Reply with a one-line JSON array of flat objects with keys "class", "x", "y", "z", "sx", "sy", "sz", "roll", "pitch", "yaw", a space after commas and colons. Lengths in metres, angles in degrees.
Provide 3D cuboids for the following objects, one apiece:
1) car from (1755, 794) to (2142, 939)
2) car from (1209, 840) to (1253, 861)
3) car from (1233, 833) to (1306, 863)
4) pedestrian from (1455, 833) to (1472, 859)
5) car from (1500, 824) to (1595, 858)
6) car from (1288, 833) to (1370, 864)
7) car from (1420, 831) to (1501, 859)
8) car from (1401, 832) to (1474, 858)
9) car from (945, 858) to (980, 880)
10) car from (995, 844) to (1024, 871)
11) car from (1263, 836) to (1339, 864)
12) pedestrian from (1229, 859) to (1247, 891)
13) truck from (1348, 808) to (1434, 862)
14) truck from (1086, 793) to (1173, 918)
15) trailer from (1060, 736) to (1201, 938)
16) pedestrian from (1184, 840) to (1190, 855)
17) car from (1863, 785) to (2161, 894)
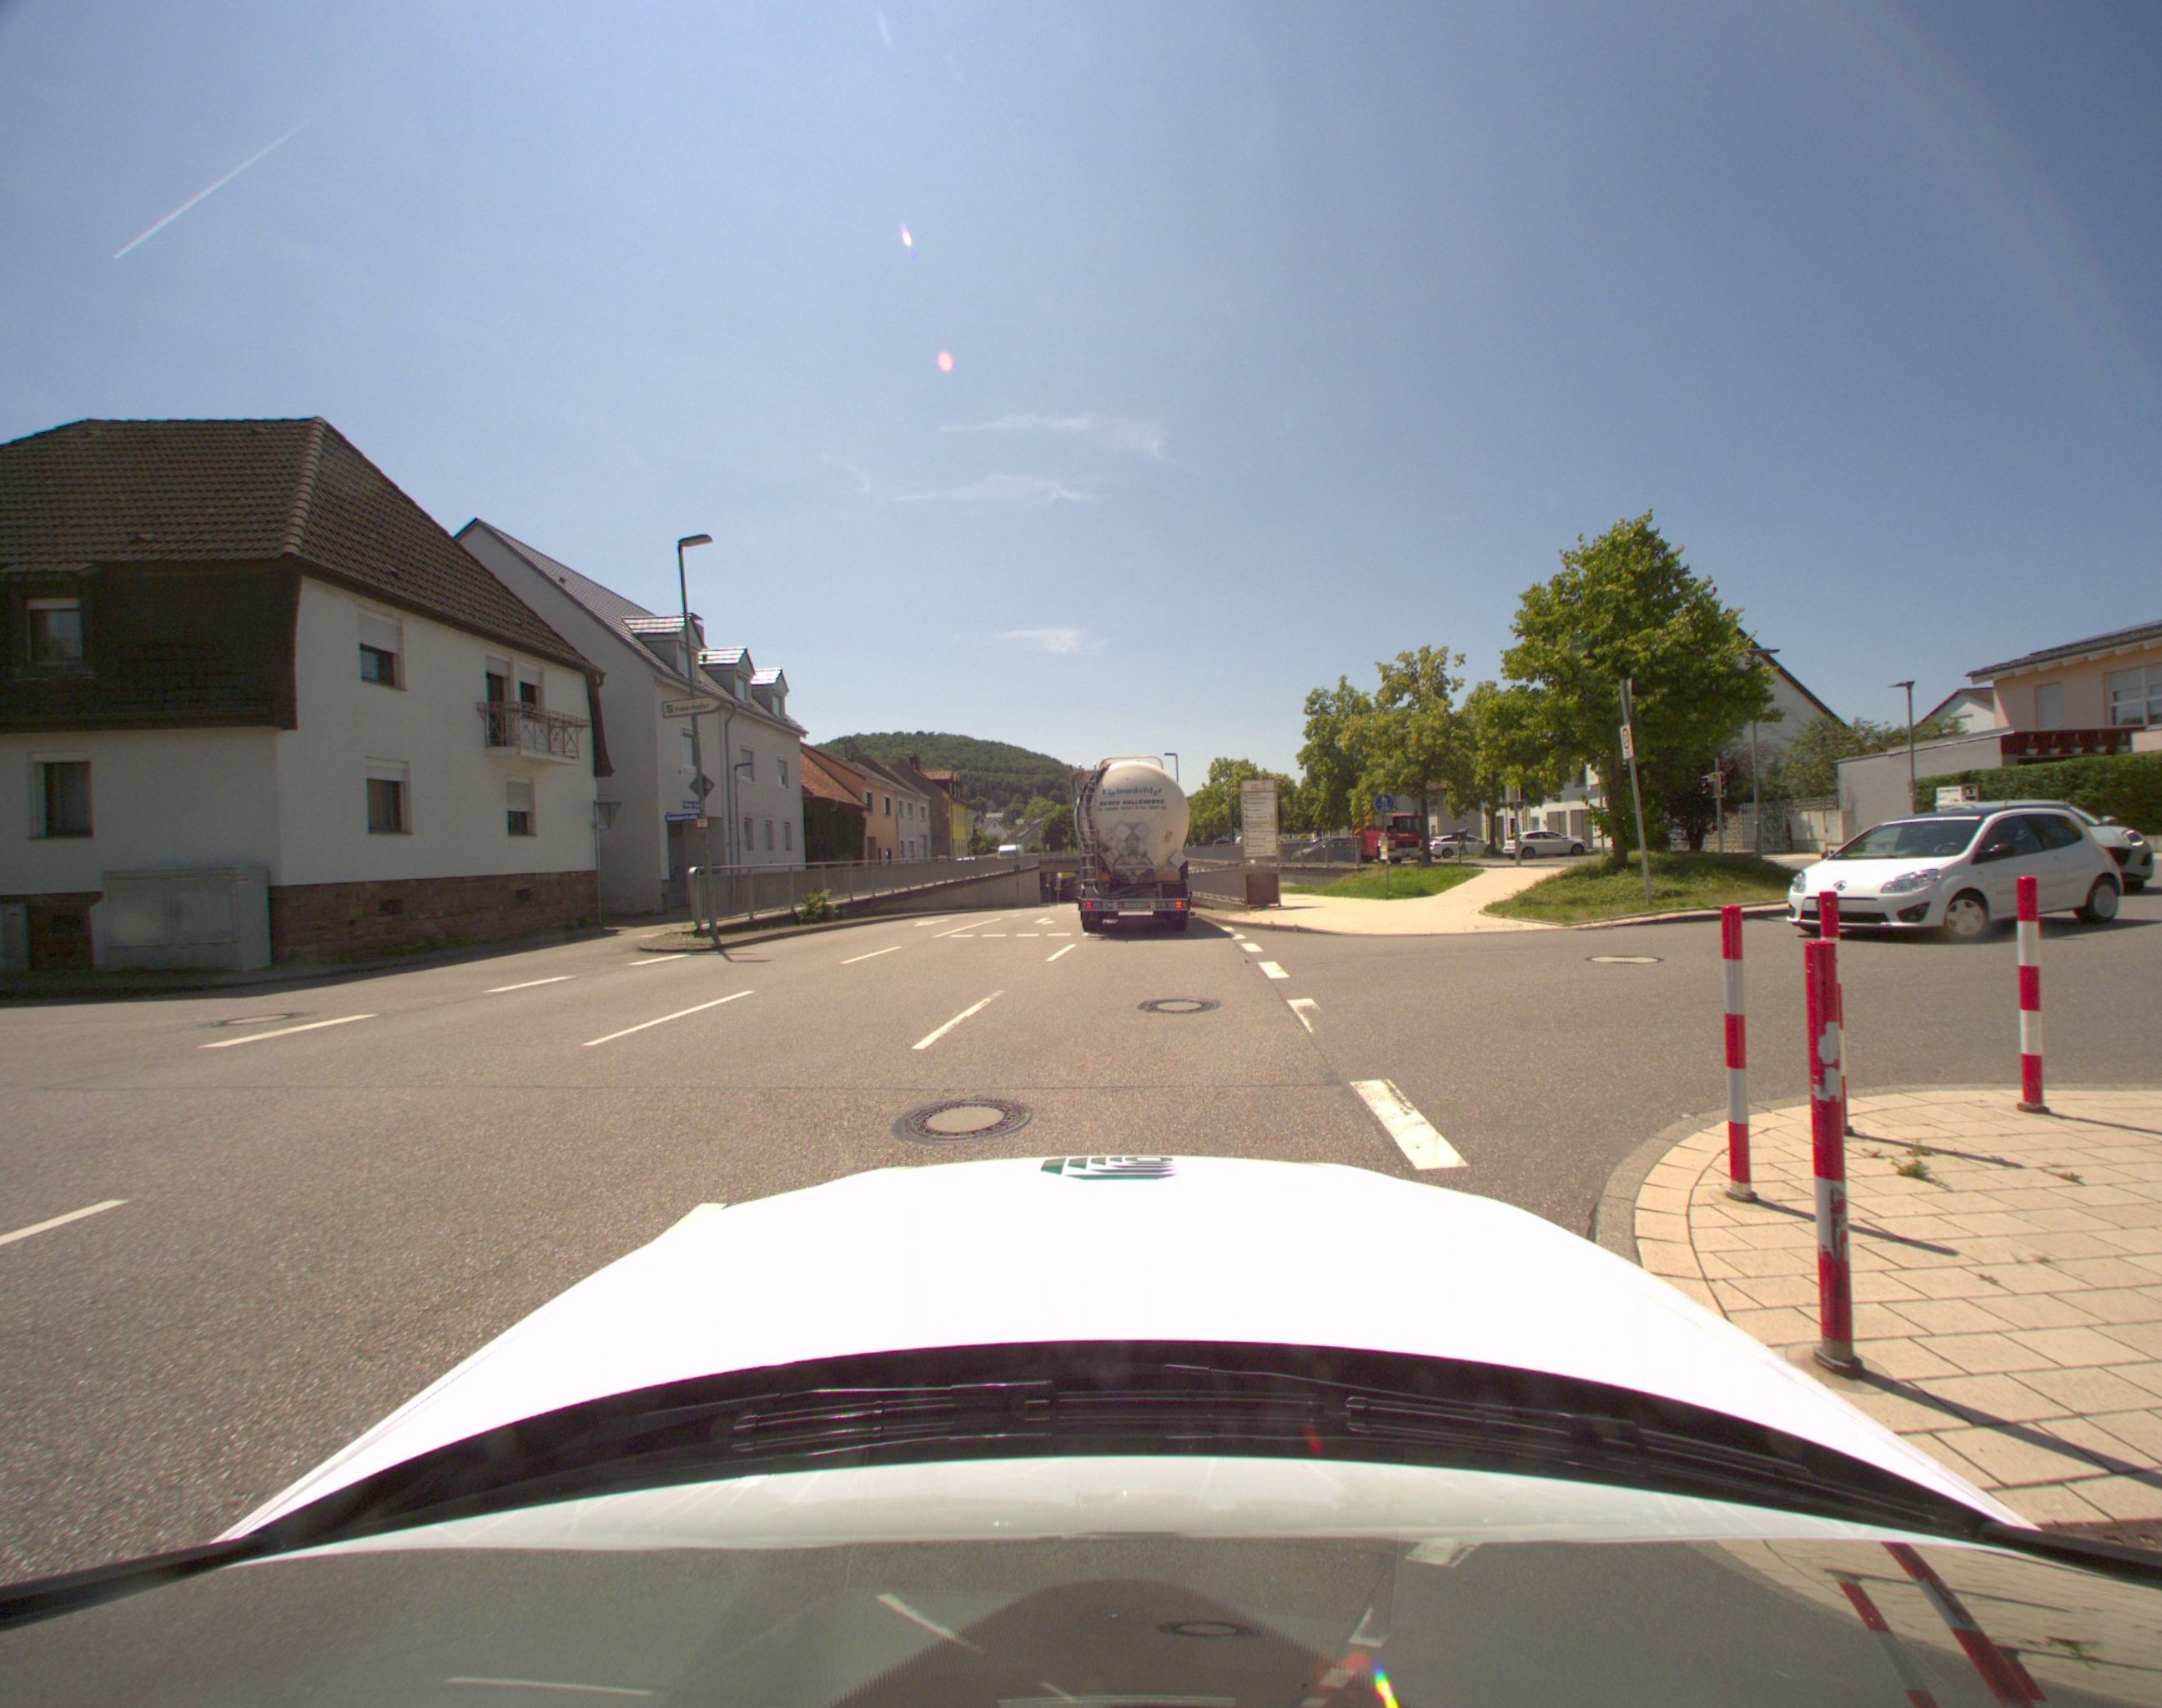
[{"class": "car", "x": 10.838, "y": 0.137, "z": 10.262, "sx": 3.677, "sy": 1.478, "sz": 1.766, "roll": -3, "pitch": -2, "yaw": -15}, {"class": "car", "x": 14.529, "y": -0.320, "z": 78.964, "sx": 3.889, "sy": 1.885, "sz": 1.687, "roll": -2, "pitch": 0, "yaw": 3}, {"class": "car", "x": 14.305, "y": -0.459, "z": 61.993, "sx": 5.091, "sy": 2.063, "sz": 1.990, "roll": -2, "pitch": 0, "yaw": 3}, {"class": "pedestrian", "x": 23.546, "y": -0.492, "z": 50.074, "sx": 0.745, "sy": 1.511, "sz": 0.607, "roll": -4, "pitch": 0, "yaw": -43}, {"class": "car", "x": 24.528, "y": -0.652, "z": 42.945, "sx": 3.922, "sy": 1.478, "sz": 1.759, "roll": -4, "pitch": -1, "yaw": 2}, {"class": "car", "x": 13.581, "y": -0.278, "z": 44.694, "sx": 3.970, "sy": 1.498, "sz": 1.750, "roll": -2, "pitch": 0, "yaw": 3}, {"class": "car", "x": 24.783, "y": -0.586, "z": 53.249, "sx": 4.388, "sy": 1.490, "sz": 1.759, "roll": -4, "pitch": -1, "yaw": 2}, {"class": "car", "x": 25.477, "y": -0.622, "z": 58.288, "sx": 4.388, "sy": 1.490, "sz": 1.759, "roll": -4, "pitch": -1, "yaw": 2}, {"class": "car", "x": -8.536, "y": 1.075, "z": 59.025, "sx": 1.806, "sy": 1.462, "sz": 4.311, "roll": -1, "pitch": 0, "yaw": 2}, {"class": "car", "x": -6.981, "y": 0.366, "z": 80.155, "sx": 2.057, "sy": 2.536, "sz": 5.664, "roll": 0, "pitch": 0, "yaw": 2}, {"class": "car", "x": 13.392, "y": -0.252, "z": 49.646, "sx": 4.187, "sy": 1.498, "sz": 1.687, "roll": -2, "pitch": 0, "yaw": 3}, {"class": "pedestrian", "x": 8.998, "y": 1.216, "z": 46.767, "sx": 0.833, "sy": 1.782, "sz": 0.789, "roll": -2, "pitch": -3, "yaw": 2}, {"class": "truck", "x": 14.475, "y": -0.828, "z": 38.405, "sx": 2.124, "sy": 2.334, "sz": 5.262, "roll": -2, "pitch": 0, "yaw": 2}, {"class": "truck", "x": 1.793, "y": 0.184, "z": 30.328, "sx": 2.723, "sy": 4.065, "sz": 6.533, "roll": -2, "pitch": -2, "yaw": 3}, {"class": "trailer", "x": 1.398, "y": -0.087, "z": 23.409, "sx": 2.723, "sy": 4.065, "sz": 13.321, "roll": -2, "pitch": -2, "yaw": 3}, {"class": "pedestrian", "x": 12.533, "y": -0.782, "z": 96.493, "sx": 0.670, "sy": 1.779, "sz": 0.595, "roll": -2, "pitch": -1, "yaw": 4}, {"class": "car", "x": 16.253, "y": -0.229, "z": 14.336, "sx": 1.757, "sy": 1.535, "sz": 4.143, "roll": -5, "pitch": -1, "yaw": 16}]
